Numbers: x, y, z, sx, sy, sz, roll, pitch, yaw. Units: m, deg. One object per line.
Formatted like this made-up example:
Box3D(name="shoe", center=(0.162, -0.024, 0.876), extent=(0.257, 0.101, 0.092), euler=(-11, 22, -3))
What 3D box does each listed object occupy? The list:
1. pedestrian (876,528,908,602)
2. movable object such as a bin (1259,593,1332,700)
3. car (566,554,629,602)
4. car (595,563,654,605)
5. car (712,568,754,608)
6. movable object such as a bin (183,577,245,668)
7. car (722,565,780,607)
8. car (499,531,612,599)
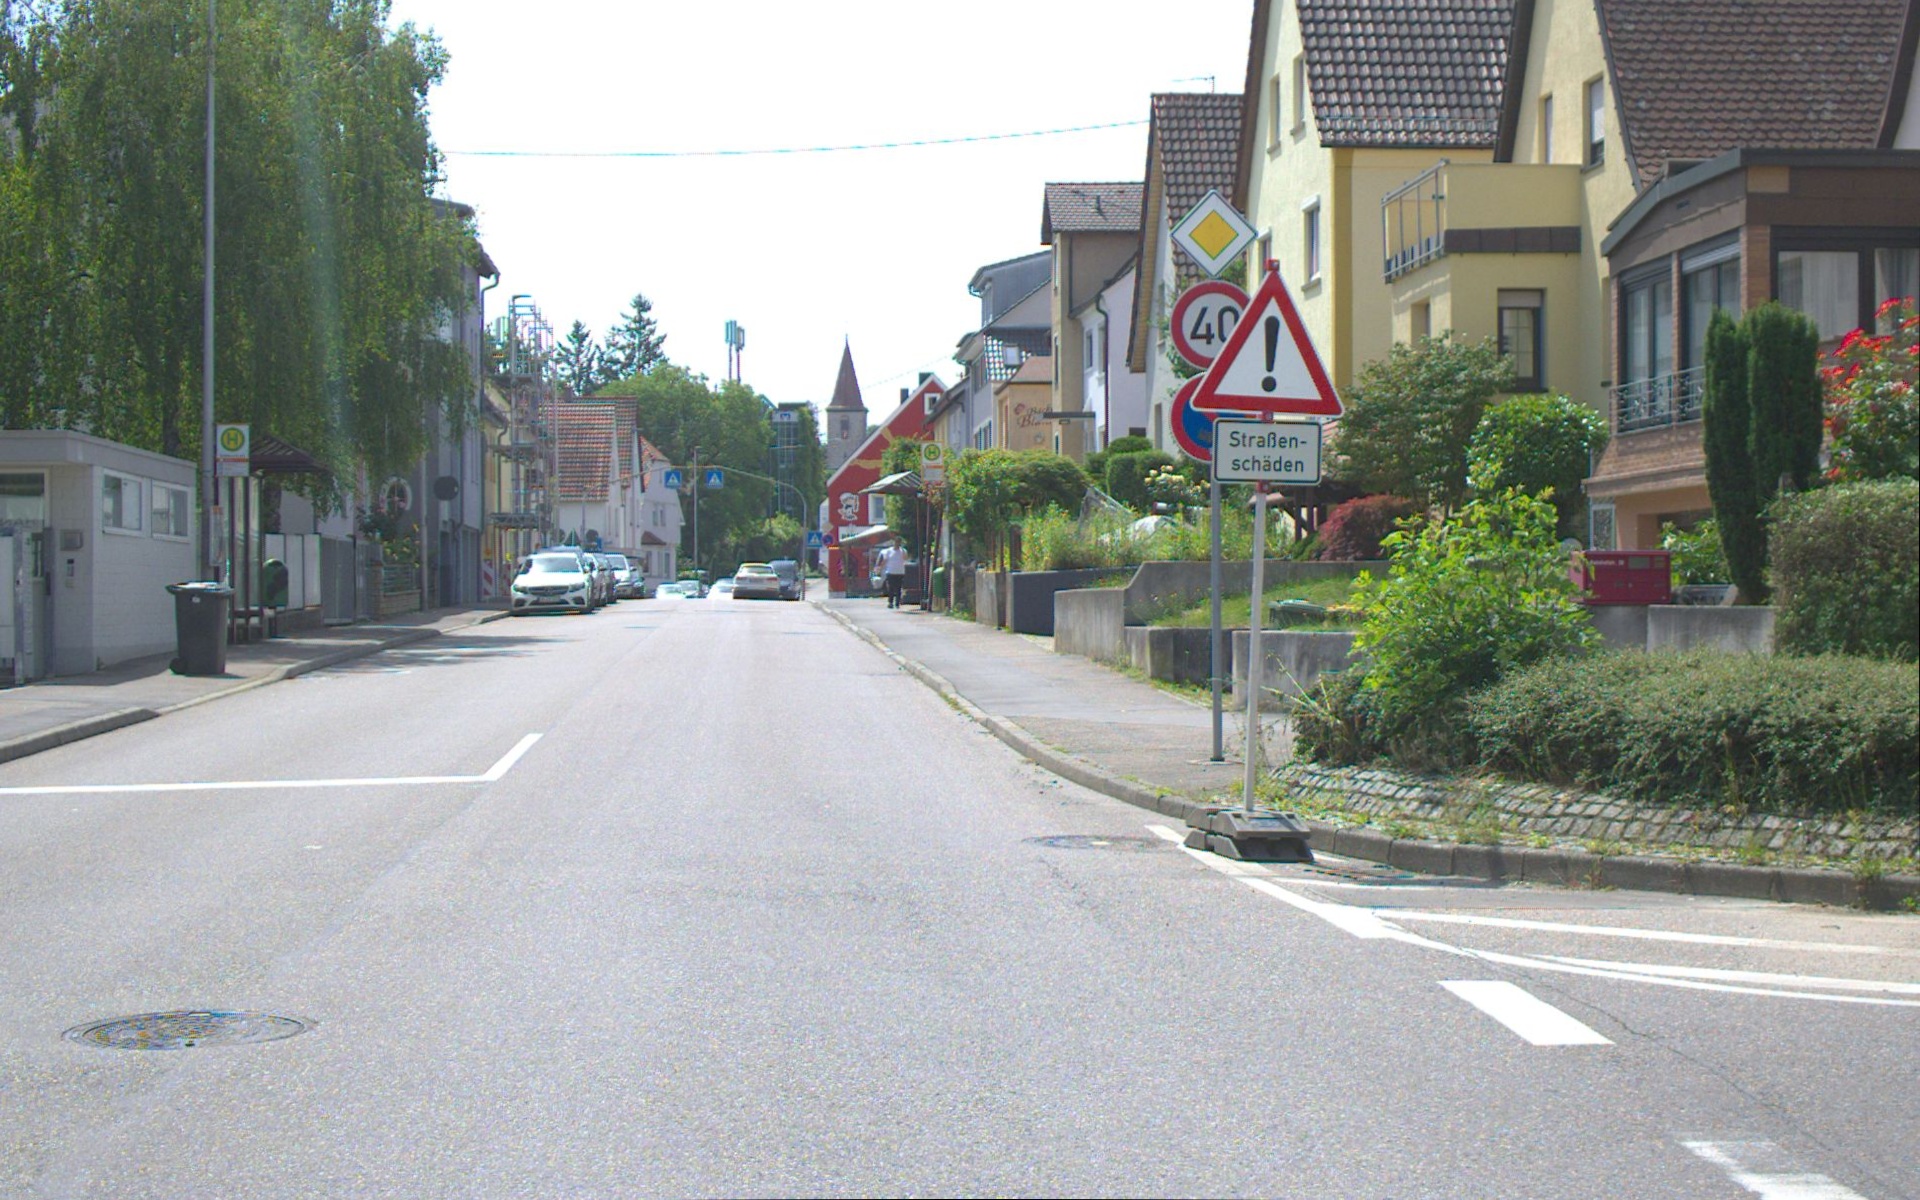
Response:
Box3D(name="pedestrian", center=(-1.604, -0.826, 81.255), extent=(0.646, 1.724, 0.608), euler=(-3, 1, -3))
Box3D(name="movable object such as a bin", center=(3.551, 0.485, 36.453), extent=(0.583, 1.075, 0.734), euler=(4, 1, -3))
Box3D(name="car", center=(-12.402, -0.771, 117.859), extent=(1.993, 1.555, 4.314), euler=(-1, 1, -4))
Box3D(name="car", center=(-12.824, -0.619, 131.597), extent=(1.993, 1.555, 4.314), euler=(-1, 1, -2))
Box3D(name="car", center=(-11.811, -0.652, 179.279), extent=(1.993, 2.007, 4.000), euler=(-1, 1, -1))
Box3D(name="movable object such as a bin", center=(-8.835, 0.263, 40.709), extent=(0.607, 1.042, 0.725), euler=(1, 2, -4))
Box3D(name="car", center=(-8.109, -0.545, 133.048), extent=(1.993, 1.555, 4.315), euler=(-1, 1, -7))
Box3D(name="car", center=(-9.642, -0.855, 82.336), extent=(2.110, 1.555, 4.314), euler=(0, 1, 1))
